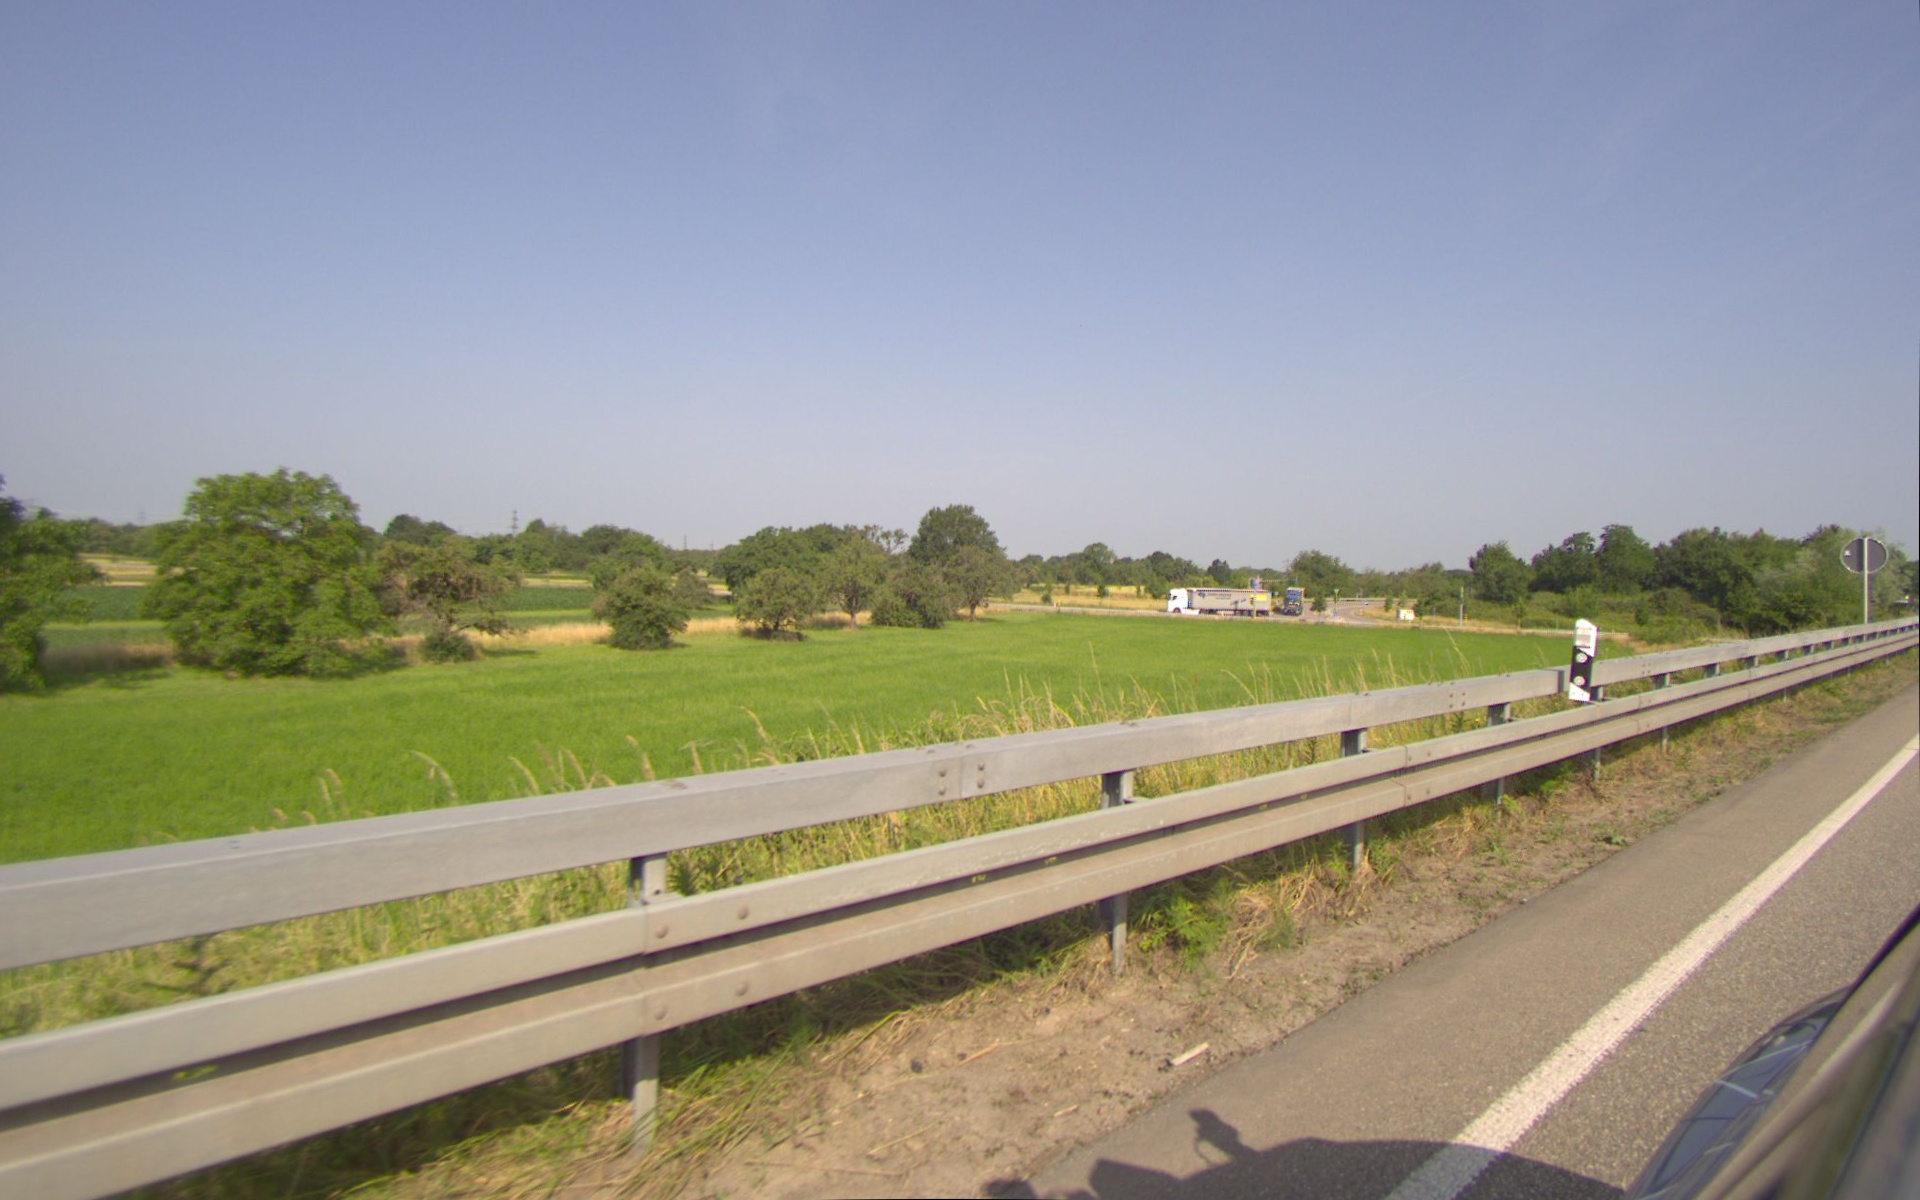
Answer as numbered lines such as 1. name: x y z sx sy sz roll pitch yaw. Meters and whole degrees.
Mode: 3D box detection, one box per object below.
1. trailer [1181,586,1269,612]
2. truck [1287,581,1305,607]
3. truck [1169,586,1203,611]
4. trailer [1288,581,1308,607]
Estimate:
1. trailer: 40.831 -0.079 155.967 13.638 3.698 2.113 1 1 -13
2. truck: 54.615 -1.010 164.520 2.237 4.221 4.338 2 1 23
3. truck: 34.625 -0.212 155.091 4.873 3.724 2.098 2 1 16
4. trailer: 57.125 -1.130 170.697 2.236 4.221 14.319 2 2 22
